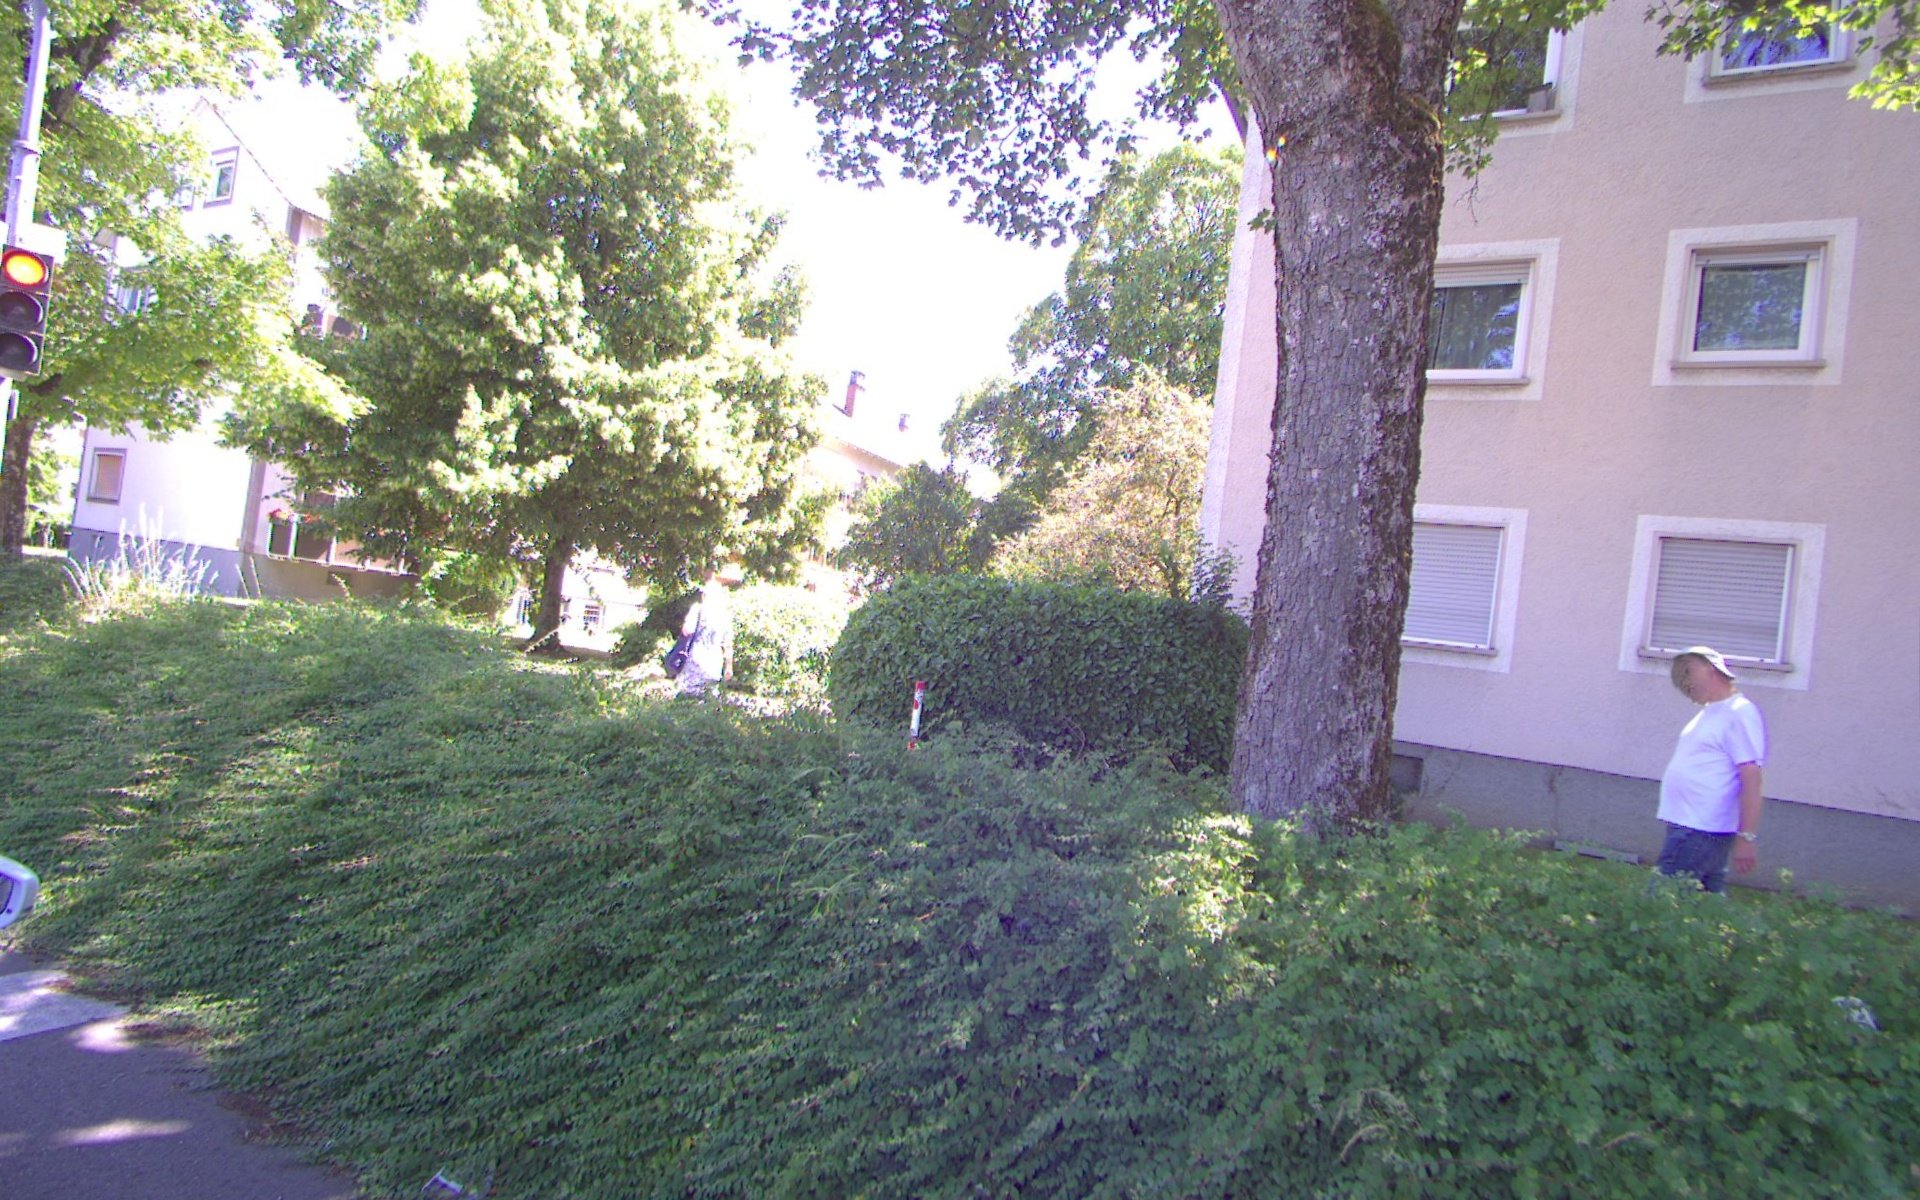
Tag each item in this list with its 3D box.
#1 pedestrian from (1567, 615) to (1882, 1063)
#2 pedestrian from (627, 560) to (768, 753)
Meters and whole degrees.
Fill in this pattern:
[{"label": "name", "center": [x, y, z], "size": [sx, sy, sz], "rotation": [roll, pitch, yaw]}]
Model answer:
[{"label": "pedestrian", "center": [3.686, 1.098, 4.927], "size": [0.886, 1.893, 0.676], "rotation": [7, -3, 10]}, {"label": "pedestrian", "center": [-2.449, 0.524, 9.434], "size": [0.836, 1.653, 0.720], "rotation": [7, 0, 23]}]
